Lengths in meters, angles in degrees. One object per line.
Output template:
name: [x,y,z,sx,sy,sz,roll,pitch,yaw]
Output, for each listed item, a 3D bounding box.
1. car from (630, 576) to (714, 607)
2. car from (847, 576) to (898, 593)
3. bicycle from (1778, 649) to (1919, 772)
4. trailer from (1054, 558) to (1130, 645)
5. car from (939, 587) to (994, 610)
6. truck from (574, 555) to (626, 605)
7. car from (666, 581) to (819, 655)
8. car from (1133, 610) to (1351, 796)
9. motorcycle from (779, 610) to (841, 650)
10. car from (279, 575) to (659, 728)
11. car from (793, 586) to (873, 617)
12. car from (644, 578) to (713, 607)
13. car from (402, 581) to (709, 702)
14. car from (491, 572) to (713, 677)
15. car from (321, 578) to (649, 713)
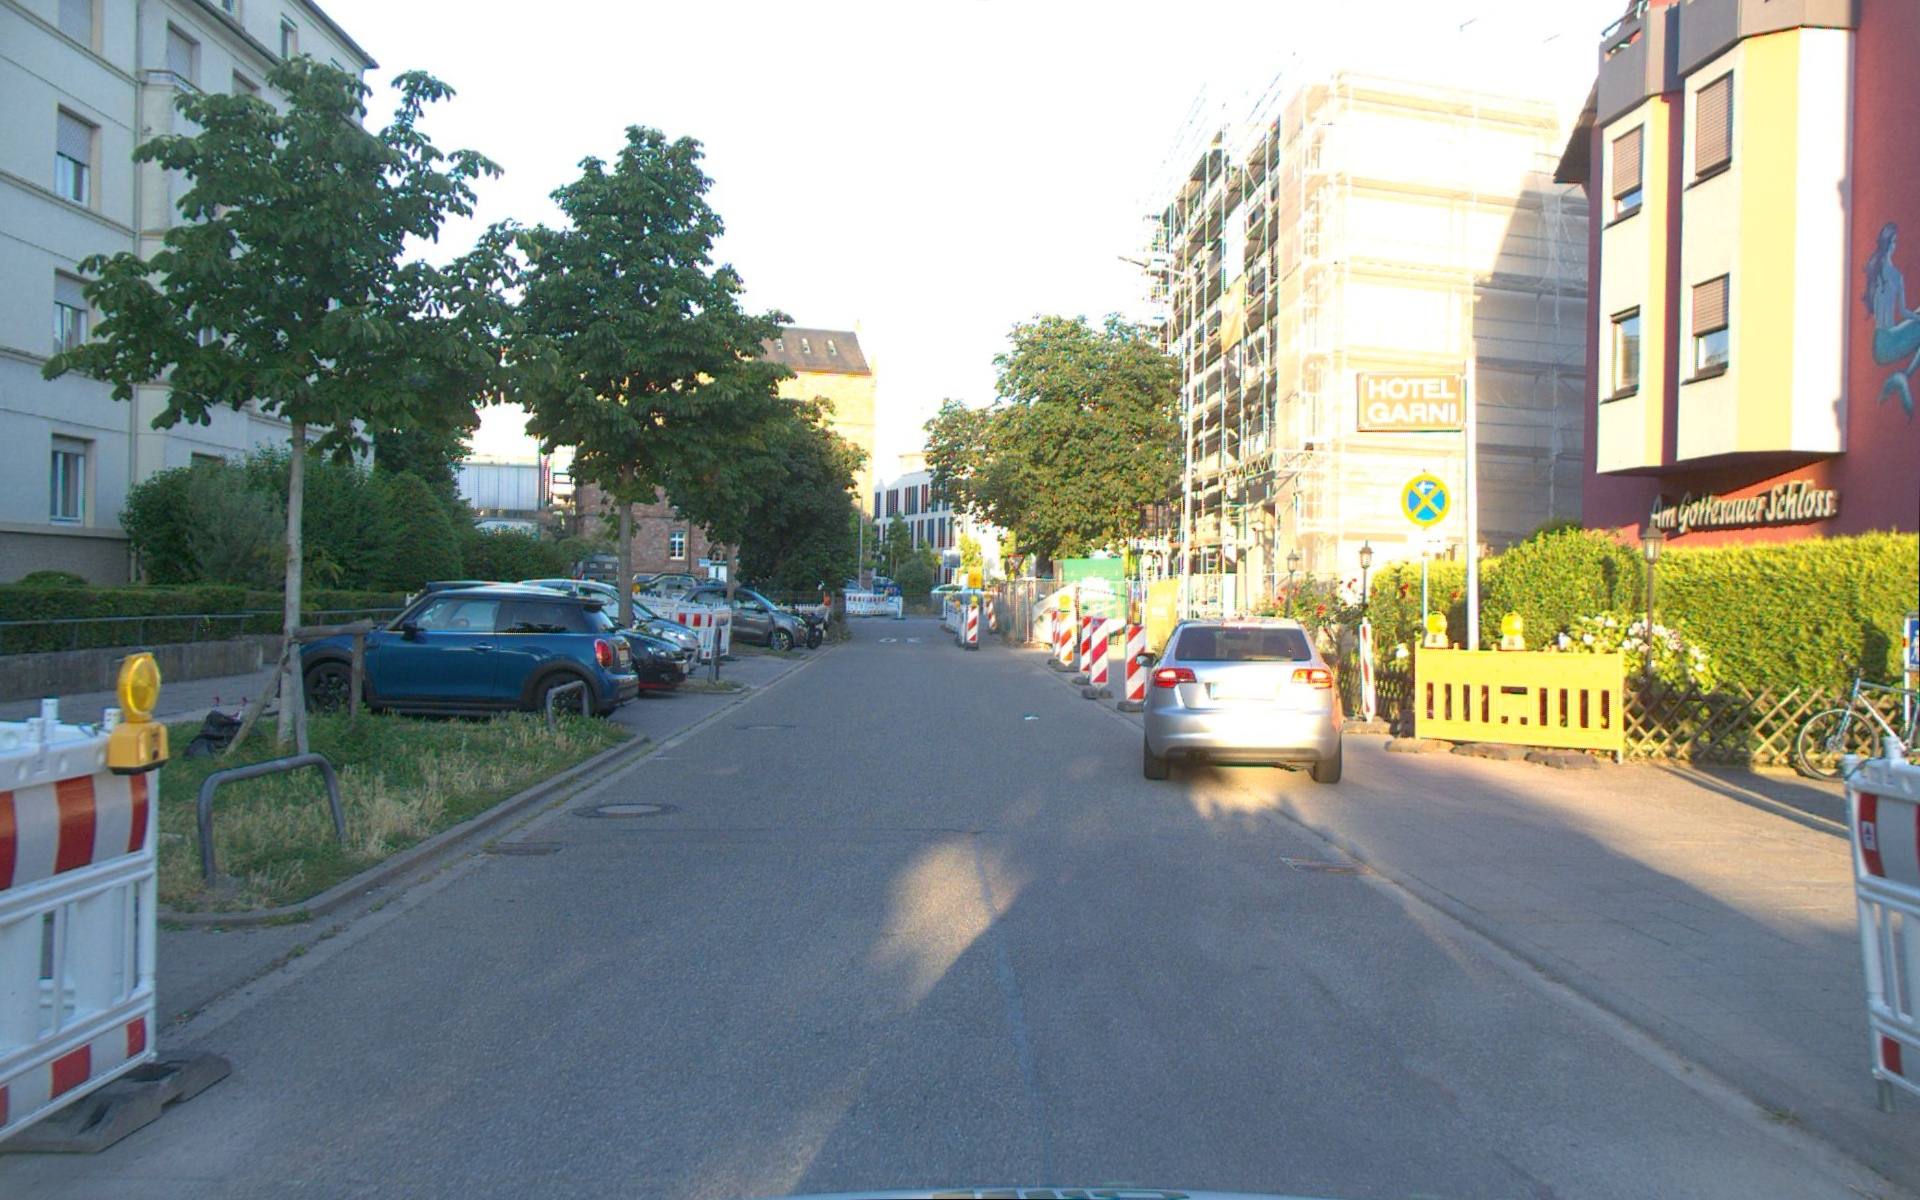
car: [-16.324,-0.474,93.667,4.512,1.666,1.568,1,0,-18]
car: [-7.420,-1.324,140.174,3.928,1.336,1.866,1,0,-20]
bicycle: [8.578,1.016,15.214,1.853,1.088,0.446,1,0,5]
trailer: [4.072,0.022,51.599,1.953,2.584,4.185,1,1,-1]
car: [0.479,-0.115,121.731,3.689,1.631,1.675,1,0,-23]
truck: [-20.006,-1.096,91.699,2.298,2.662,4.948,1,1,-18]
car: [-5.448,0.445,41.736,3.551,1.584,1.692,4,0,-2]
car: [2.763,0.847,15.538,1.738,1.421,4.111,1,0,13]
motorcycle: [-4.093,0.838,45.288,0.527,1.038,2.208,4,0,27]
car: [-5.308,0.553,18.234,3.602,1.470,1.728,2,-1,0]
car: [-7.240,0.078,94.269,4.207,1.738,1.693,1,0,-21]
car: [-15.593,-0.406,91.666,3.575,1.530,1.629,1,0,-18]
car: [-5.713,0.583,23.687,3.896,1.515,1.728,2,-1,0]
car: [-6.011,0.409,28.052,3.406,1.593,1.726,2,-1,-5]
car: [-5.963,0.567,21.051,3.602,1.510,1.728,2,-1,0]
